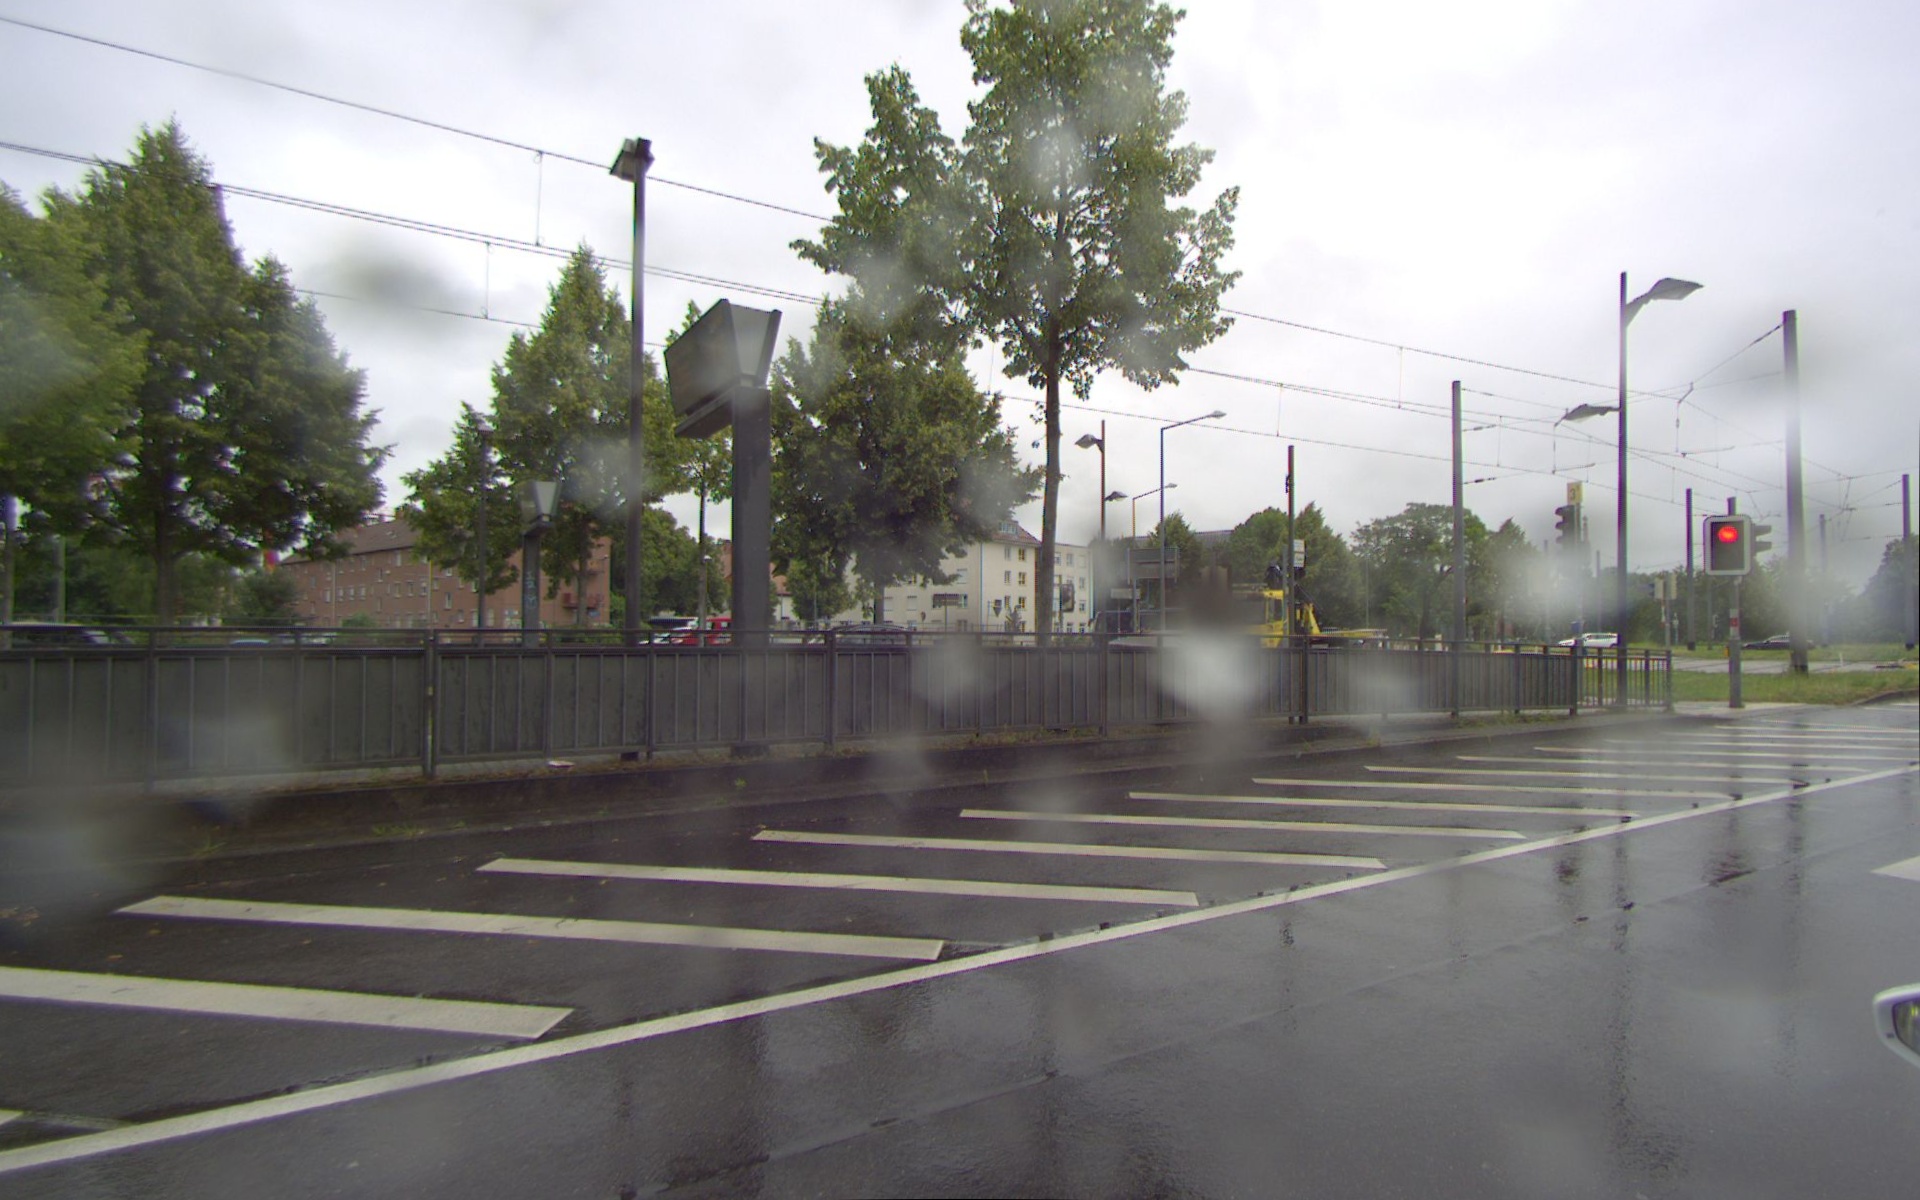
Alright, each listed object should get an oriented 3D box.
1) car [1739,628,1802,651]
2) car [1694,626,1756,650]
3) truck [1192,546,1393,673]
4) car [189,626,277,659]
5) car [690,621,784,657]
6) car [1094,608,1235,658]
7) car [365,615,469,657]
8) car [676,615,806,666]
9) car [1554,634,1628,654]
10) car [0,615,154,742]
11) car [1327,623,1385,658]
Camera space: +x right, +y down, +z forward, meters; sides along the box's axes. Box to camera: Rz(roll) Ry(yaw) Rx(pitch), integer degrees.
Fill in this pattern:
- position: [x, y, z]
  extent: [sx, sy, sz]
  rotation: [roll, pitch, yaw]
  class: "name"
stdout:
- position: [62.431, 3.019, 77.411]
  extent: [3.417, 1.563, 1.621]
  rotation: [2, 0, 25]
  class: "car"
- position: [64.772, 3.188, 85.046]
  extent: [3.922, 1.840, 1.681]
  rotation: [2, 0, -1]
  class: "car"
- position: [11.630, 0.382, 34.445]
  extent: [2.660, 3.828, 9.124]
  rotation: [2, 0, 45]
  class: "truck"
- position: [-45.393, 2.637, 62.755]
  extent: [4.387, 1.902, 1.856]
  rotation: [2, 0, -38]
  class: "car"
- position: [-14.799, 2.575, 66.650]
  extent: [6.005, 2.308, 1.617]
  rotation: [0, -2, -19]
  class: "car"
- position: [16.074, 2.634, 79.564]
  extent: [10.740, 3.769, 2.459]
  rotation: [-1, -2, 7]
  class: "car"
- position: [-33.811, 2.268, 62.626]
  extent: [5.442, 2.485, 1.979]
  rotation: [2, 0, -36]
  class: "car"
- position: [-11.237, 2.052, 51.709]
  extent: [6.390, 2.503, 1.616]
  rotation: [1, -1, -21]
  class: "car"
- position: [48.003, 3.357, 76.449]
  extent: [4.530, 1.473, 1.624]
  rotation: [0, -1, 3]
  class: "car"
- position: [-16.111, 1.276, 16.707]
  extent: [3.953, 2.040, 1.749]
  rotation: [1, -2, -30]
  class: "car"
- position: [19.328, 1.956, 49.221]
  extent: [1.959, 1.649, 4.407]
  rotation: [0, -2, 13]
  class: "car"
